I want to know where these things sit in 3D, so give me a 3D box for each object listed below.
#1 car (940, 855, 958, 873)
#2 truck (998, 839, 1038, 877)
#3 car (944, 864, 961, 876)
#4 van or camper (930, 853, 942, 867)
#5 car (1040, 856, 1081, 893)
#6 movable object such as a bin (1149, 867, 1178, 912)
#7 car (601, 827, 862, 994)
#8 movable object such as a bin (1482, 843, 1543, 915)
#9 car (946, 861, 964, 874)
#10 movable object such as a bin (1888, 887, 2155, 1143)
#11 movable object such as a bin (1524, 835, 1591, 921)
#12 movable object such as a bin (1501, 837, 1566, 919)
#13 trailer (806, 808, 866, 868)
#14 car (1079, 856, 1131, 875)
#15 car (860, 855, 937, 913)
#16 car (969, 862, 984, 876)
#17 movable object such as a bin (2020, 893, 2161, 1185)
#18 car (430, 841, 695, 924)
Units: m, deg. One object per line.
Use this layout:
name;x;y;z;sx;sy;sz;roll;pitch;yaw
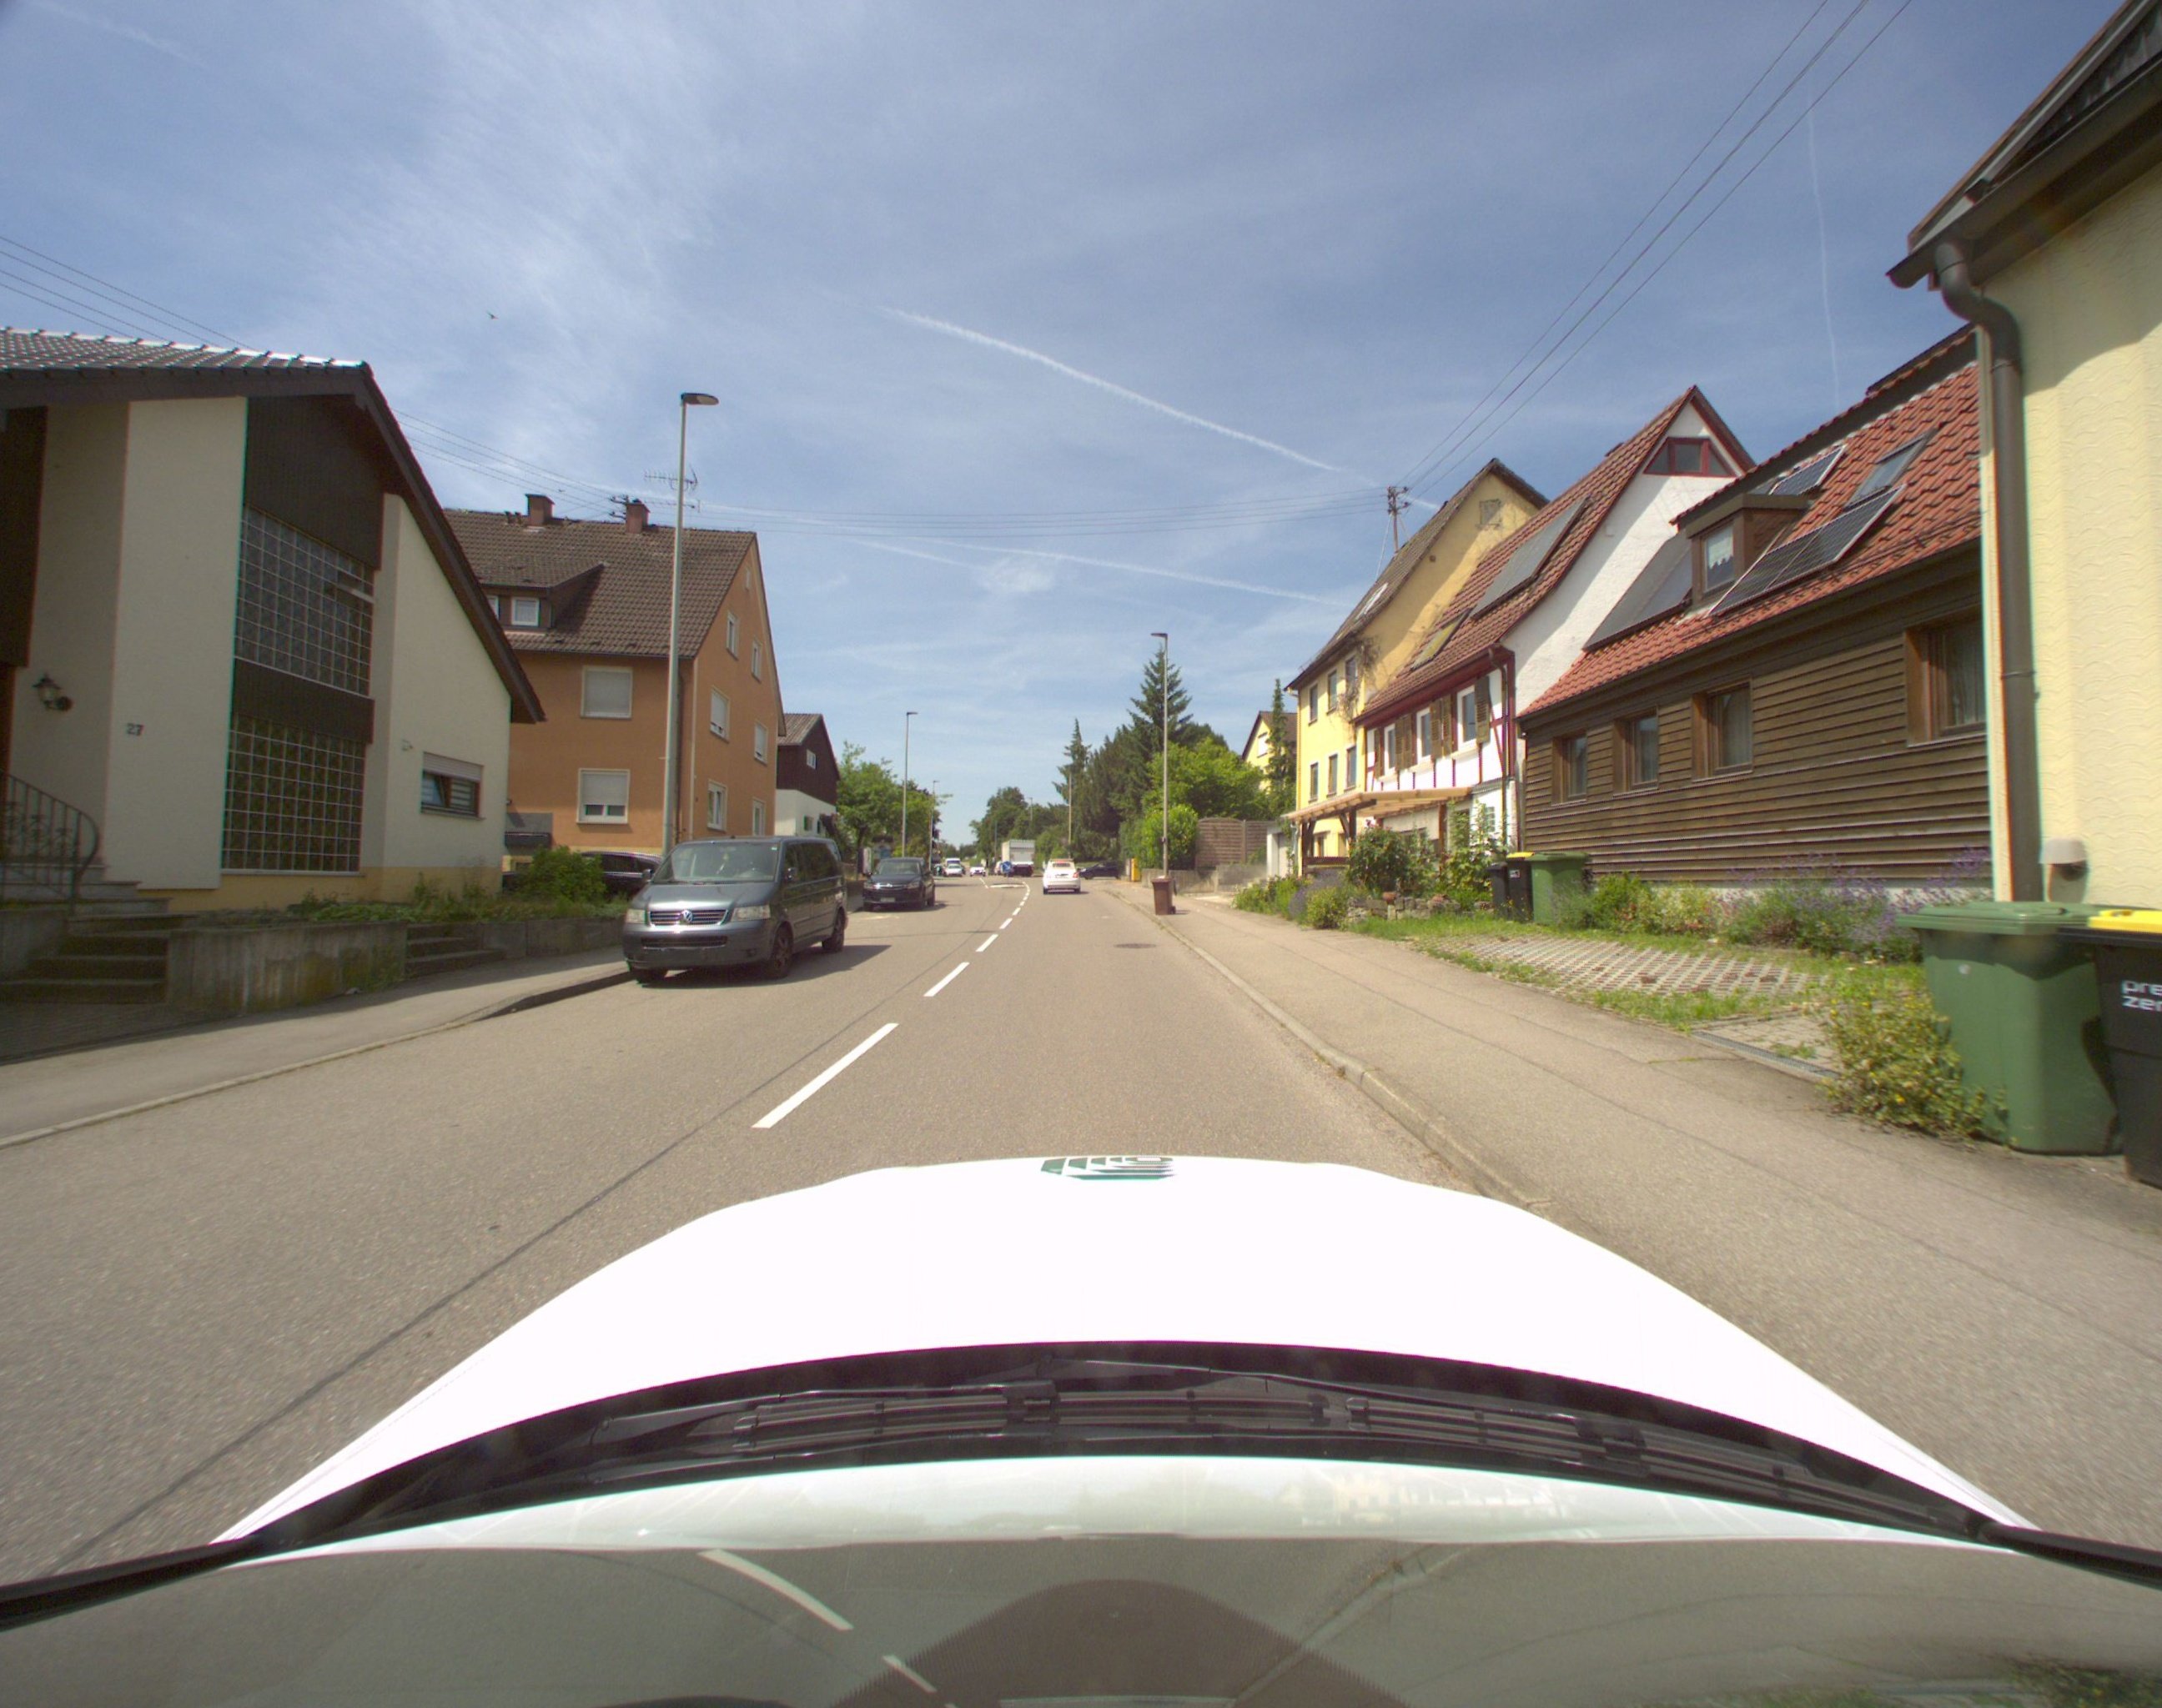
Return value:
car;-16.753;1.280;103.075;2.038;2.200;5.559;0;-1;-12
truck;-6.558;0.449;83.852;3.071;3.774;7.834;-1;-1;-12
car;-15.278;1.852;96.550;1.806;1.398;3.951;0;-1;-12
van or camper;-31.444;1.402;176.560;2.264;2.962;5.871;1;-1;-8
car;-0.941;0.891;36.721;1.720;1.560;3.997;-1;0;-2
movable object such as a bin;2.026;0.870;19.923;0.490;1.033;0.551;-4;-1;22
car;-4.863;0.691;12.278;1.886;1.937;4.982;-2;0;-2
movable object such as a bin;6.847;0.393;12.945;0.534;1.057;0.548;-7;0;-4
car;-14.120;1.526;91.279;1.806;1.398;3.983;0;-1;-12
movable object such as a bin;4.268;0.693;3.735;0.544;1.033;0.551;-3;0;1
movable object such as a bin;6.894;0.344;11.799;0.533;1.157;0.510;-7;0;-4
movable object such as a bin;6.867;0.353;12.369;0.534;1.157;0.548;-7;0;-4
trailer;-12.450;-0.731;41.796;1.710;2.848;6.162;0;0;-5
car;1.860;0.918;64.602;3.929;1.458;1.655;-1;-1;-7
car;-5.700;0.880;25.942;1.765;1.636;4.280;-1;0;-5
car;-12.494;1.786;97.315;1.782;1.529;4.159;-1;-1;-7
movable object such as a bin;4.252;0.696;3.154;0.544;1.033;0.551;-3;0;1
car;-10.727;0.587;17.157;4.225;1.405;1.817;4;0;-7
